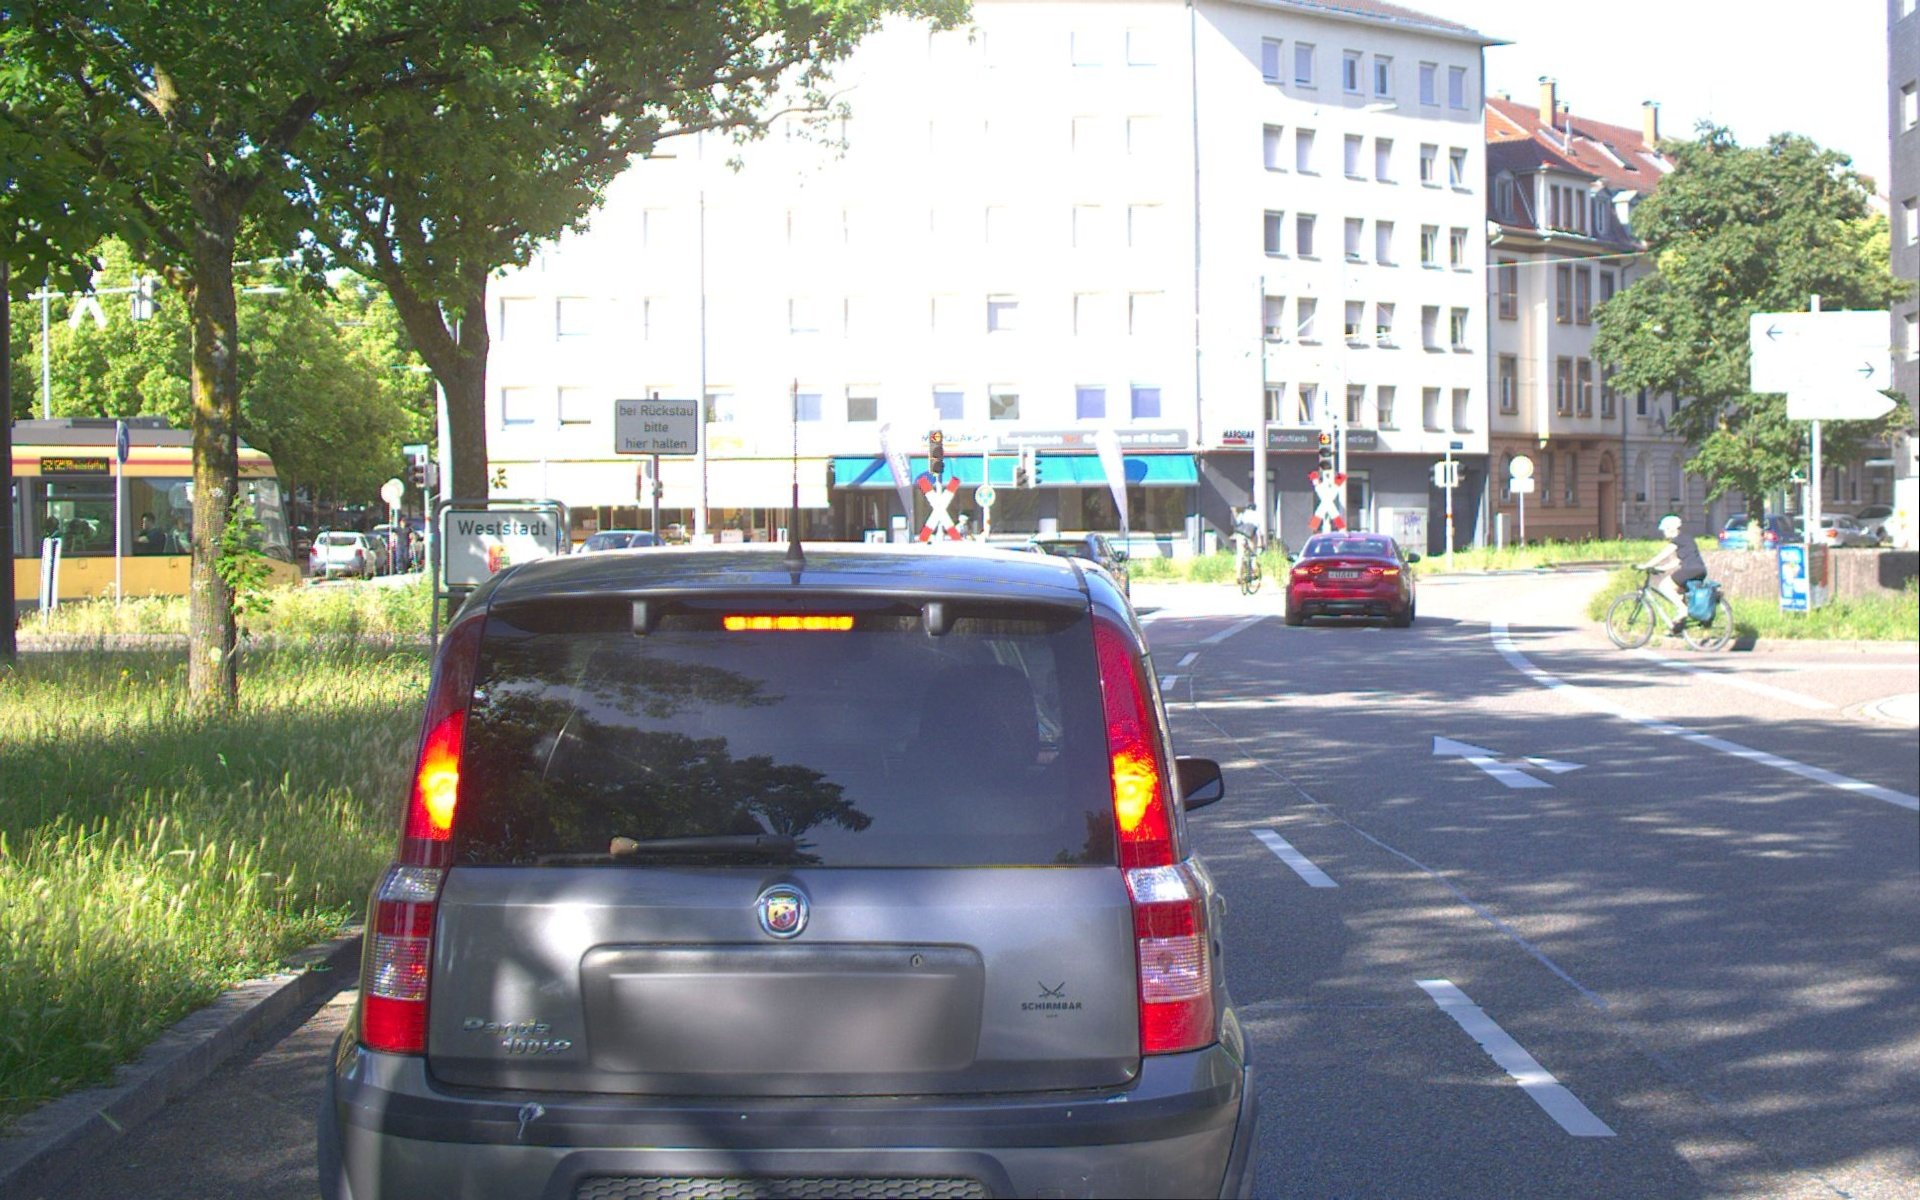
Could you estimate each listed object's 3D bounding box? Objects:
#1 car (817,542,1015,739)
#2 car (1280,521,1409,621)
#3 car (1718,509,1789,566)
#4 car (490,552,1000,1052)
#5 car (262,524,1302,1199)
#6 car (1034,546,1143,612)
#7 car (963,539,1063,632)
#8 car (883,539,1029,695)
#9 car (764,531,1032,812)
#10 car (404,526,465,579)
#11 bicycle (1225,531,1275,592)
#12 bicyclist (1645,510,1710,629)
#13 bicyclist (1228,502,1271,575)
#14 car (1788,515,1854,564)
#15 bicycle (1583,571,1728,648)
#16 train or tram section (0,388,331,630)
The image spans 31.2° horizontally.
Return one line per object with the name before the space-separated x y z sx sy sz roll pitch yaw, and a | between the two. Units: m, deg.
car | -0.345 0.272 27.293 1.463 1.420 3.381 0 2 -1
car | 5.900 -0.477 52.810 1.887 1.423 4.386 0 2 6
car | 20.882 -1.655 90.397 1.683 1.444 3.569 0 1 15
car | -0.641 0.563 11.647 1.463 1.396 3.393 0 1 -1
car | -0.298 0.601 7.426 1.628 1.503 4.000 -1 1 -1
car | 2.172 -0.364 57.677 1.143 1.060 2.719 0 1 17
car | 0.750 -0.231 49.608 1.356 1.277 2.876 0 1 -1
car | -0.059 0.127 33.870 1.356 1.444 3.266 -1 1 -1
car | -0.359 0.360 20.687 1.463 1.503 3.505 0 2 -1
car | -20.362 -1.862 133.310 1.993 2.007 4.001 -1 1 -4
bicycle | 5.783 -0.763 68.652 0.708 1.194 2.520 1 1 -2
bicyclist | 9.087 -0.392 43.554 0.549 1.488 0.585 -2 2 -41
bicyclist | 5.779 -1.225 68.677 0.741 1.433 0.845 1 0 -2
car | 23.559 -1.660 94.025 1.528 1.310 3.285 0 1 18
bicycle | 8.851 0.113 43.800 0.558 0.942 1.794 -2 2 -45
train or tram section | -19.059 -1.325 51.485 3.304 3.757 20.755 1 2 45
